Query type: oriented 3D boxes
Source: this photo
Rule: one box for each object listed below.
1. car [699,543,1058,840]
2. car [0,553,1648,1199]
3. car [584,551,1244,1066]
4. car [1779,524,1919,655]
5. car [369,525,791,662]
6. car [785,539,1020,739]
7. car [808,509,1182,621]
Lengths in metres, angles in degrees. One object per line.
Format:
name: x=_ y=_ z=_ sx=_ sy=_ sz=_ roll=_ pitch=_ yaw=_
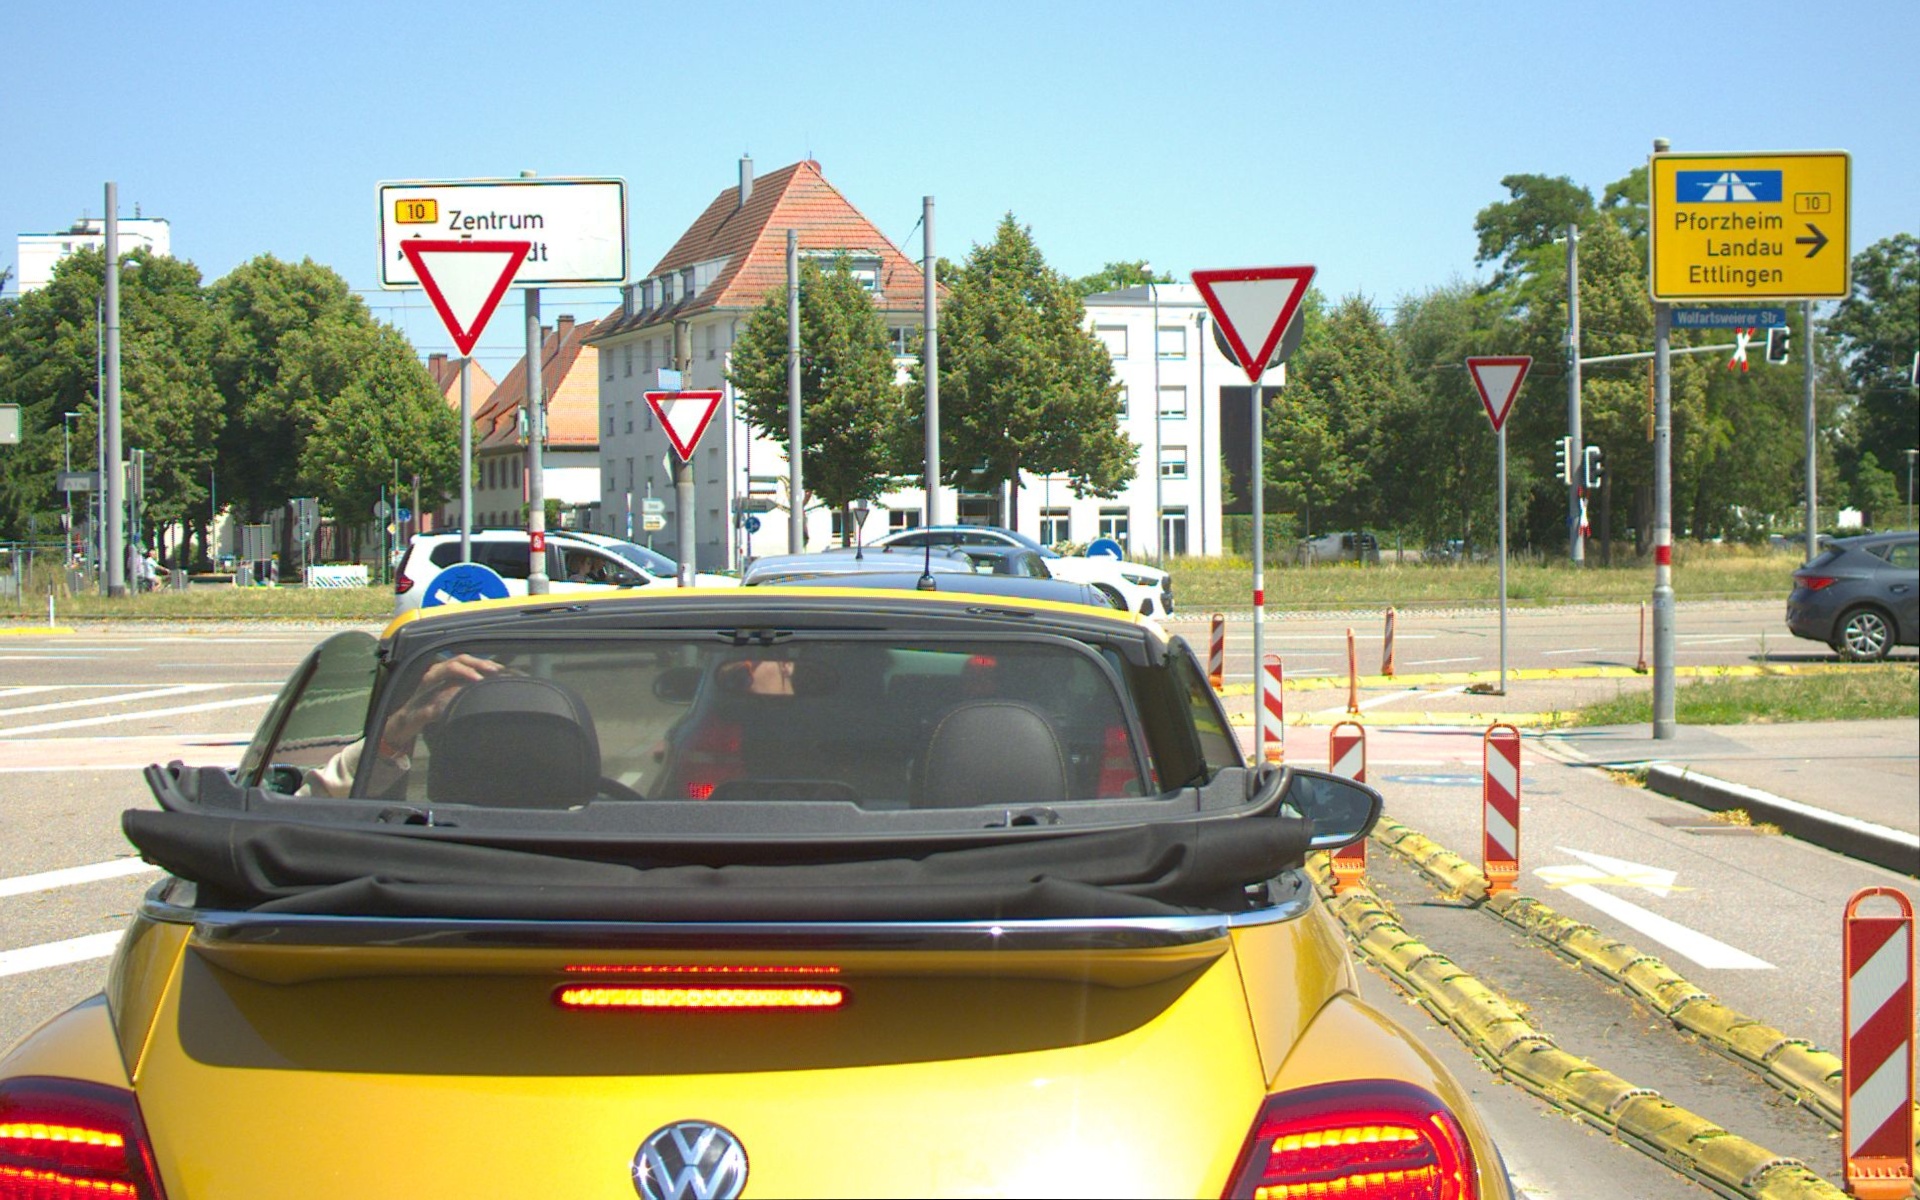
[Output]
car: x=-0.416 y=0.414 z=18.665 sx=1.736 sy=1.437 sz=4.000 roll=0 pitch=1 yaw=-1
car: x=-0.311 y=0.648 z=4.855 sx=1.752 sy=1.417 sz=3.778 roll=0 pitch=1 yaw=-1
car: x=-0.149 y=0.558 z=11.652 sx=1.848 sy=1.437 sz=4.000 roll=0 pitch=1 yaw=-1
car: x=11.463 y=-0.126 z=38.634 sx=4.206 sy=1.437 sz=1.999 roll=0 pitch=1 yaw=8
car: x=-4.491 y=-0.102 z=40.834 sx=4.578 sy=1.561 sz=1.999 roll=0 pitch=1 yaw=14
car: x=-0.444 y=0.257 z=27.466 sx=1.736 sy=1.472 sz=4.000 roll=0 pitch=1 yaw=-1
car: x=0.524 y=-0.495 z=47.462 sx=4.992 sy=1.504 sz=2.000 roll=0 pitch=1 yaw=6
